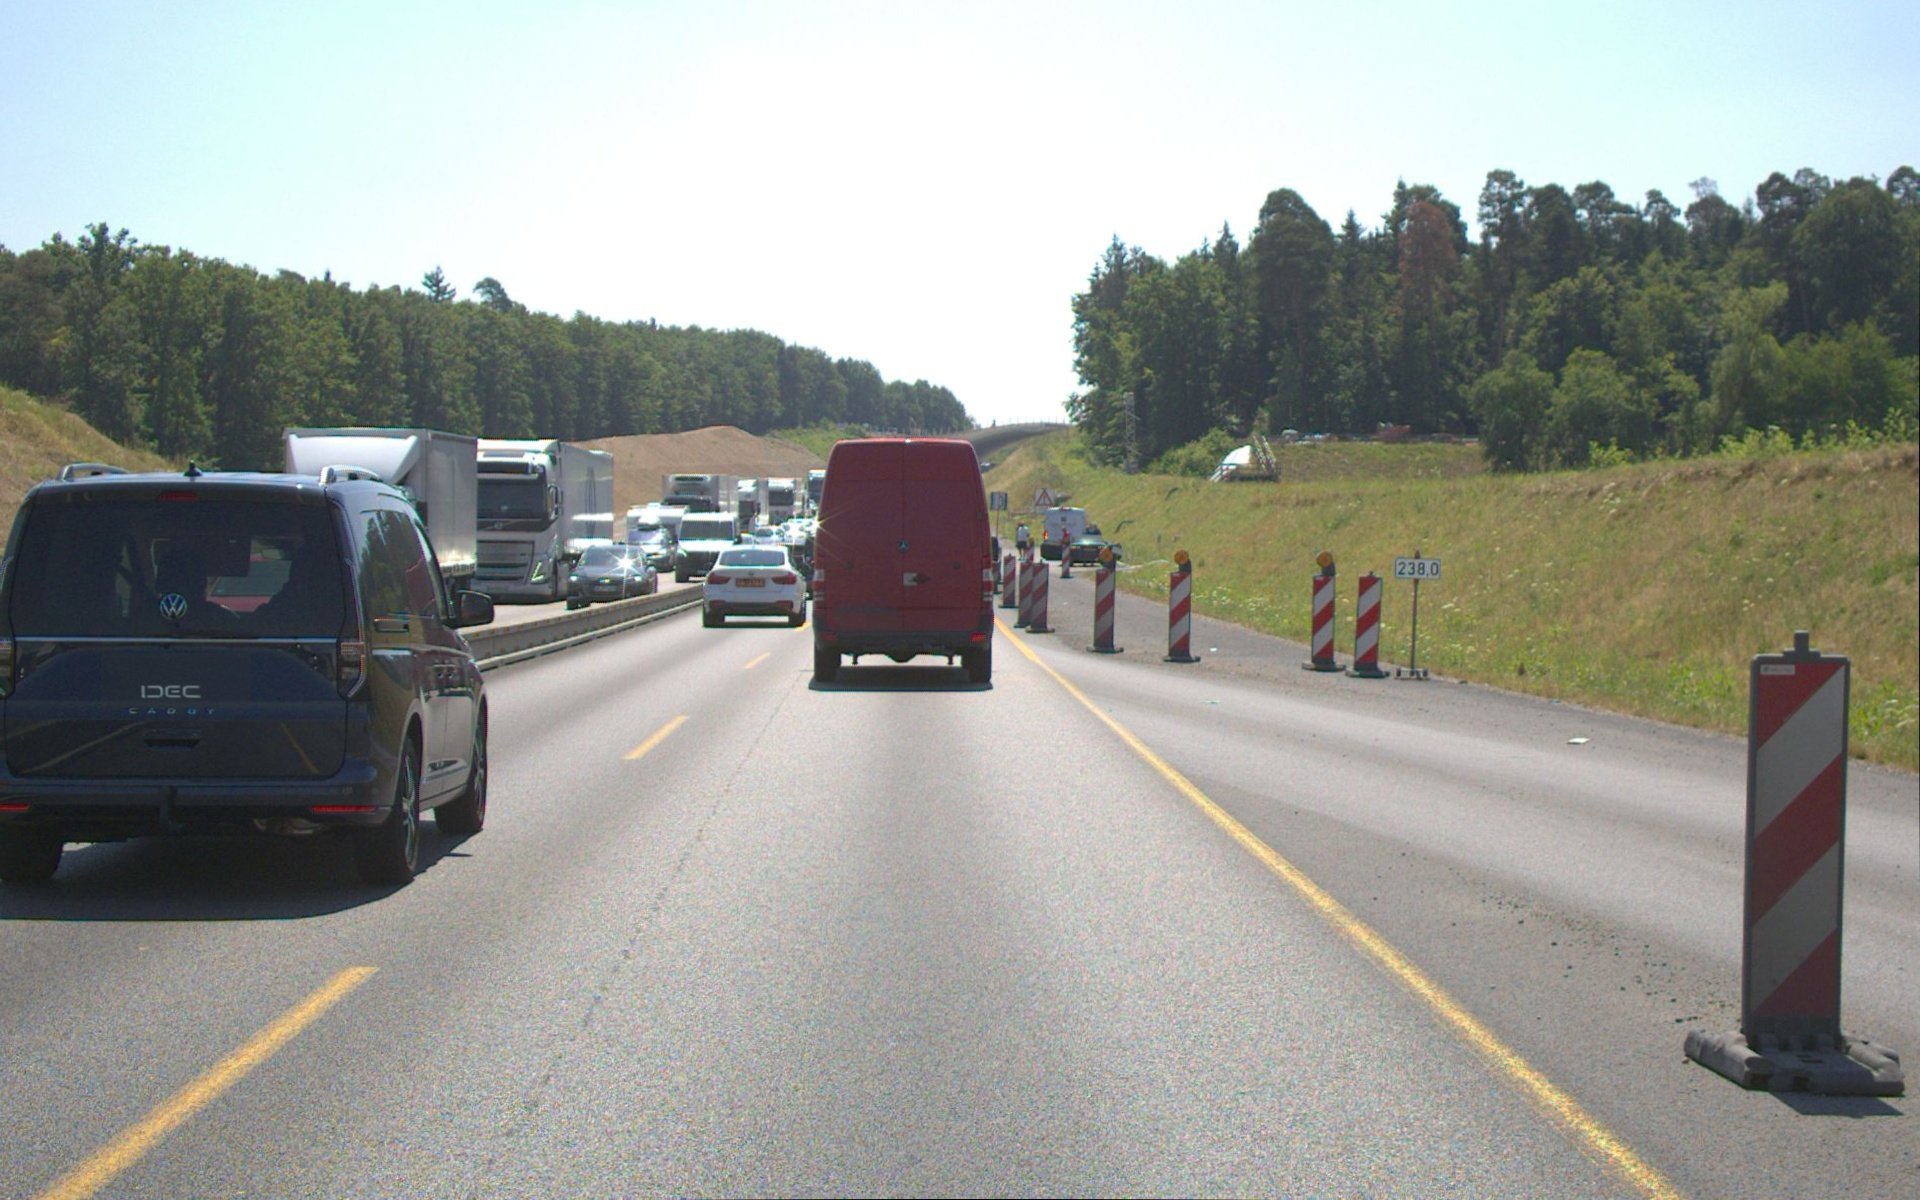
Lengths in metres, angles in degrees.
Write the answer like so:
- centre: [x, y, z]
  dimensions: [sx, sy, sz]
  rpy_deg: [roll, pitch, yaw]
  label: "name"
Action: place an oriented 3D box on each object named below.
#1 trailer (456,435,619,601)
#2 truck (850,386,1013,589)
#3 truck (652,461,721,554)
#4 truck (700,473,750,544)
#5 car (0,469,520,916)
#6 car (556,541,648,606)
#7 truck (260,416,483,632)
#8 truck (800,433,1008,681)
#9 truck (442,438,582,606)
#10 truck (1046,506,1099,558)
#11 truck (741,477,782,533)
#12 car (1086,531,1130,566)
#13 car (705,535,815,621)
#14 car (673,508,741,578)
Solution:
- centre: [-11.207, -2.117, 92.564]
  dimensions: [2.854, 4.079, 13.653]
  rpy_deg: [-1, 1, -1]
  label: "trailer"
- centre: [-0.879, -3.155, 102.256]
  dimensions: [4.400, 5.477, 16.604]
  rpy_deg: [1, 1, -1]
  label: "truck"
- centre: [-12.664, -4.268, 159.619]
  dimensions: [2.491, 4.184, 5.912]
  rpy_deg: [-1, 1, 1]
  label: "truck"
- centre: [-13.560, -5.295, 198.671]
  dimensions: [2.591, 4.039, 5.150]
  rpy_deg: [1, 1, -2]
  label: "truck"
- centre: [-3.278, 0.316, 16.505]
  dimensions: [1.751, 1.818, 4.783]
  rpy_deg: [1, 2, -1]
  label: "car"
- centre: [-8.154, -0.613, 78.603]
  dimensions: [1.857, 1.437, 4.502]
  rpy_deg: [1, 1, -3]
  label: "car"
- centre: [-10.884, -1.370, 64.474]
  dimensions: [2.644, 3.703, 9.483]
  rpy_deg: [1, 1, -1]
  label: "truck"
- centre: [-0.658, -0.487, 38.832]
  dimensions: [2.153, 2.581, 5.334]
  rpy_deg: [1, 1, -2]
  label: "truck"
- centre: [-11.048, -1.913, 85.207]
  dimensions: [2.848, 4.004, 4.859]
  rpy_deg: [-1, 1, -1]
  label: "truck"
- centre: [5.535, -3.378, 168.520]
  dimensions: [2.130, 2.448, 5.924]
  rpy_deg: [1, 2, 6]
  label: "truck"
- centre: [-14.932, -7.128, 258.372]
  dimensions: [2.768, 4.030, 4.943]
  rpy_deg: [1, 1, 0]
  label: "truck"
- centre: [6.451, -2.266, 150.434]
  dimensions: [1.654, 1.422, 4.545]
  rpy_deg: [-2, 2, 0]
  label: "car"
- centre: [-3.669, -0.418, 63.585]
  dimensions: [1.831, 1.517, 3.961]
  rpy_deg: [1, 1, -1]
  label: "car"
- centre: [-8.463, -1.933, 115.430]
  dimensions: [1.993, 2.284, 5.344]
  rpy_deg: [1, 1, -2]
  label: "car"
